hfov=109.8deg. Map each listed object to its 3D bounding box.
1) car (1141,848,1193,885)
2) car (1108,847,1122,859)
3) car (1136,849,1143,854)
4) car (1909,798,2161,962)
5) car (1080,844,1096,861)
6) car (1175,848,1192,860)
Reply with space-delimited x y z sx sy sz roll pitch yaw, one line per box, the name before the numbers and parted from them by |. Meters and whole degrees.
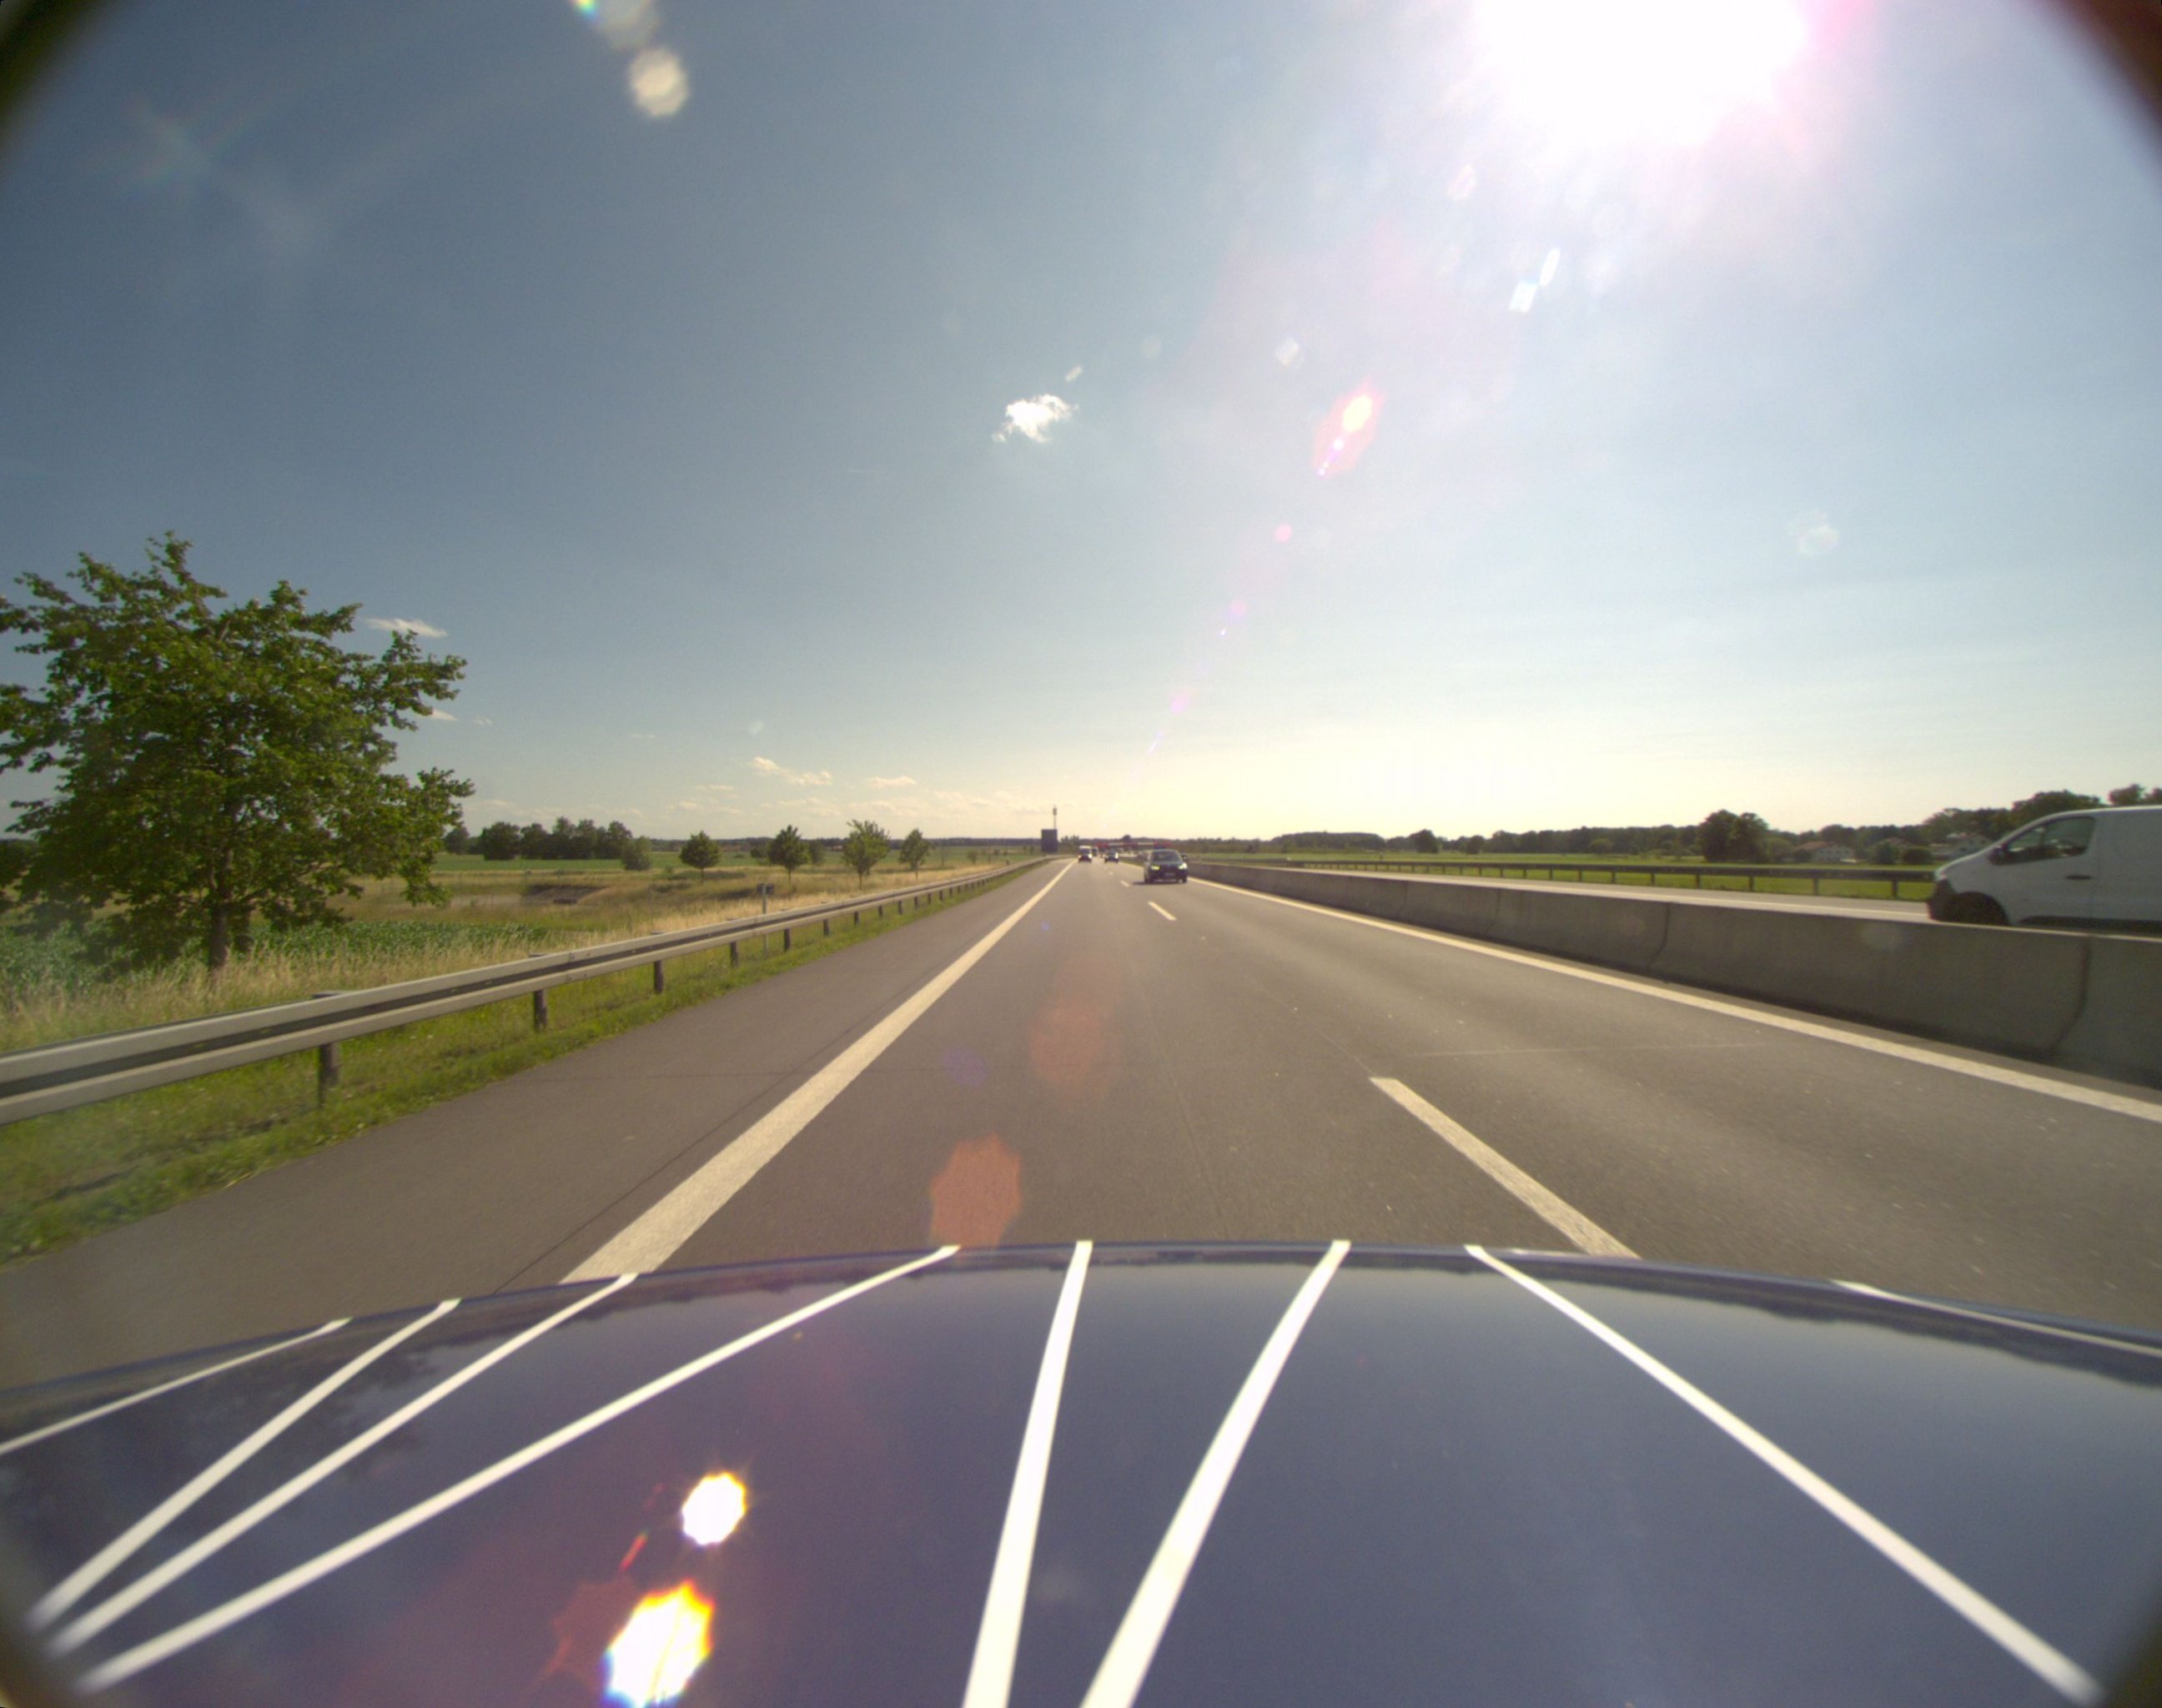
car | 4.121 0.542 37.255 2.030 1.600 4.818 -3 1 1
car | 5.053 -0.158 114.191 2.030 1.600 4.818 -1 0 1
car | 17.286 -0.812 224.282 1.902 1.514 4.805 2 1 1
car | 14.295 0.283 9.329 1.999 2.002 5.714 -3 1 0
car | 1.051 -0.246 108.214 2.030 2.225 4.818 1 1 3
car | 15.008 0.015 111.543 1.912 1.675 5.007 -3 0 1
